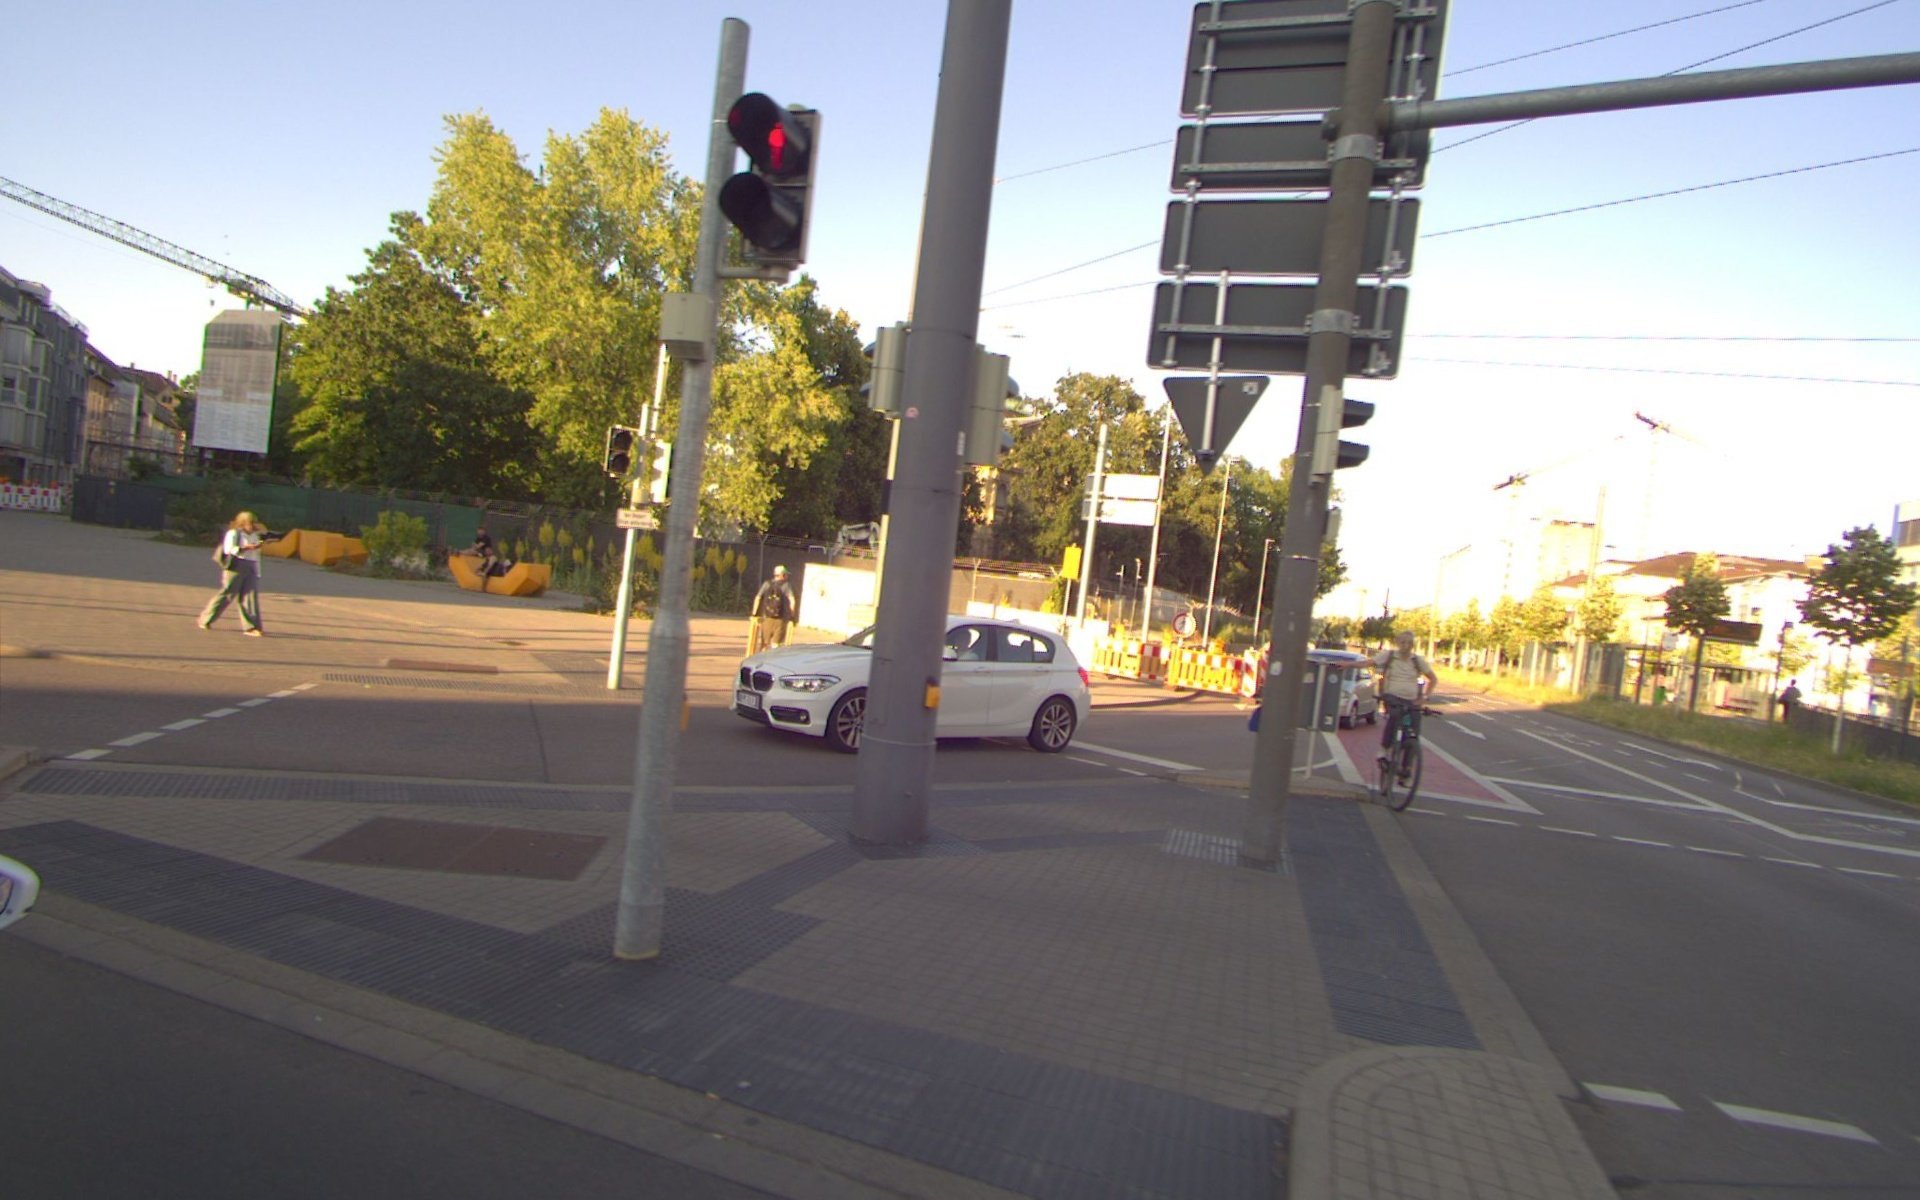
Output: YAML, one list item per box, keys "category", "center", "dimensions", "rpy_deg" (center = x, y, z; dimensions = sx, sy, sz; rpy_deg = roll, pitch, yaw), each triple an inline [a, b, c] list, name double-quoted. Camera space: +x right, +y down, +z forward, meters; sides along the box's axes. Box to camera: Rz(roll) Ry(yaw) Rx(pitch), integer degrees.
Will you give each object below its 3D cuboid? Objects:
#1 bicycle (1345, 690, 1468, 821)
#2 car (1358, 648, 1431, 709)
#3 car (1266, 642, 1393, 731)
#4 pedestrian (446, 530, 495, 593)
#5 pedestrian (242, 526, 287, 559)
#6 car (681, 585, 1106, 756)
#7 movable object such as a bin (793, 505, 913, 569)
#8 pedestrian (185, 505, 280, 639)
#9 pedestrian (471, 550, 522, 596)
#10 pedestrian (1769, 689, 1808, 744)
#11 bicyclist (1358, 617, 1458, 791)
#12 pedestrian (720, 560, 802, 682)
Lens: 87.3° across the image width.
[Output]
- category: "bicycle"
  center: [4.612, 1.567, 10.522]
  dimensions: [0.585, 1.036, 1.847]
  rpy_deg: [7, 1, 9]
- category: "car"
  center: [14.552, 2.572, 33.899]
  dimensions: [1.908, 1.637, 4.390]
  rpy_deg: [7, 0, 21]
- category: "car"
  center: [7.908, 1.818, 21.341]
  dimensions: [1.654, 1.580, 3.717]
  rpy_deg: [5, -1, 33]
- category: "pedestrian"
  center: [-13.969, -1.096, 28.719]
  dimensions: [0.750, 1.686, 0.821]
  rpy_deg: [7, 2, 25]
- category: "pedestrian"
  center: [-21.797, -1.798, 31.542]
  dimensions: [0.963, 0.904, 0.562]
  rpy_deg: [7, 1, 3]
- category: "car"
  center: [-0.600, 0.812, 11.049]
  dimensions: [4.270, 1.423, 1.896]
  rpy_deg: [7, 0, -40]
- category: "movable object such as a bin"
  center: [-4.195, -2.455, 38.799]
  dimensions: [1.985, 2.039, 4.966]
  rpy_deg: [6, 1, -41]
- category: "pedestrian"
  center: [-9.440, -0.351, 13.067]
  dimensions: [0.586, 1.634, 0.689]
  rpy_deg: [8, 2, 27]
- category: "pedestrian"
  center: [-13.165, -0.751, 28.588]
  dimensions: [0.721, 1.172, 0.989]
  rpy_deg: [7, 1, 24]
- category: "pedestrian"
  center: [25.902, 3.639, 31.461]
  dimensions: [0.555, 1.611, 0.690]
  rpy_deg: [8, 2, 22]
- category: "bicyclist"
  center: [4.689, 1.061, 10.588]
  dimensions: [0.585, 1.692, 0.748]
  rpy_deg: [7, 2, 9]
- category: "pedestrian"
  center: [-3.119, 0.314, 15.742]
  dimensions: [0.931, 1.758, 0.817]
  rpy_deg: [6, 2, -23]
